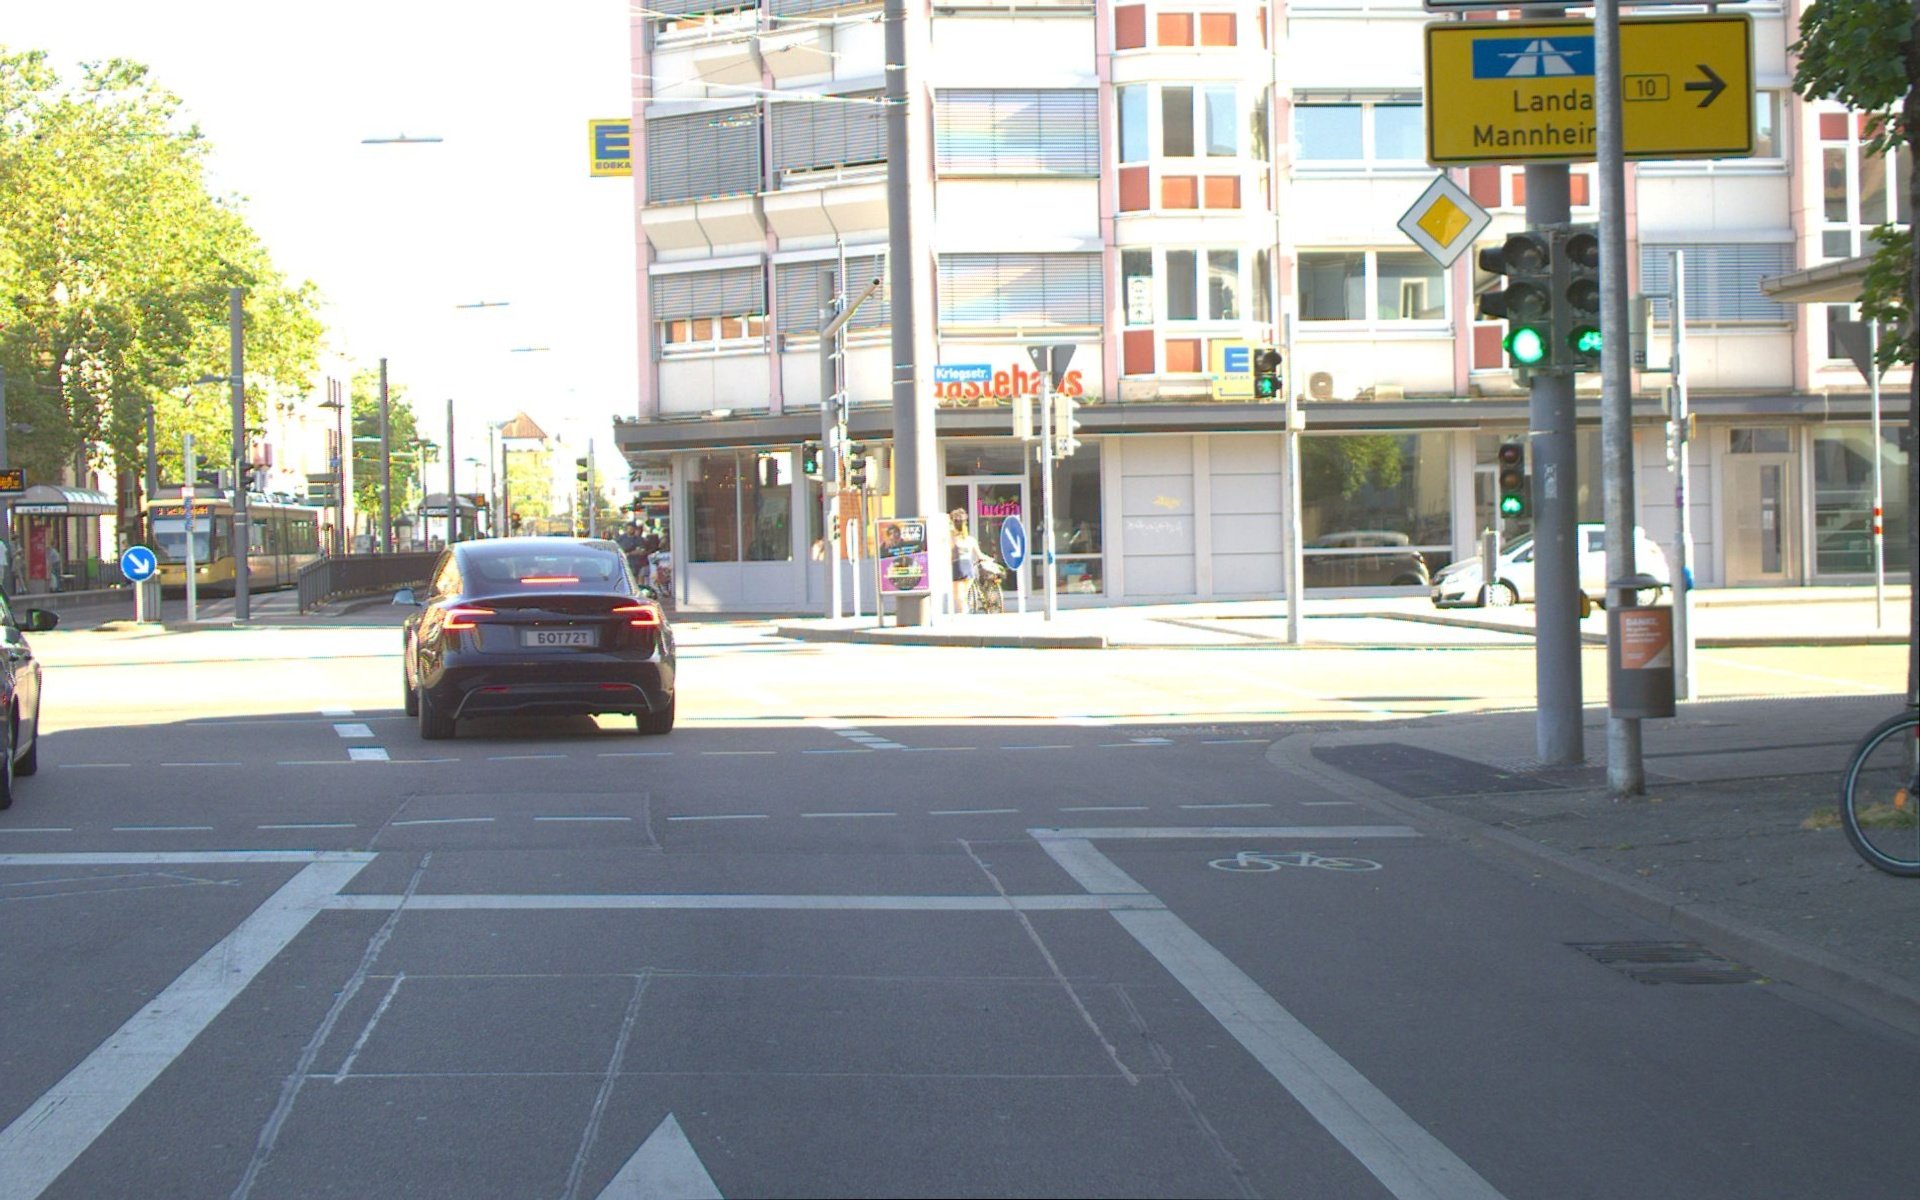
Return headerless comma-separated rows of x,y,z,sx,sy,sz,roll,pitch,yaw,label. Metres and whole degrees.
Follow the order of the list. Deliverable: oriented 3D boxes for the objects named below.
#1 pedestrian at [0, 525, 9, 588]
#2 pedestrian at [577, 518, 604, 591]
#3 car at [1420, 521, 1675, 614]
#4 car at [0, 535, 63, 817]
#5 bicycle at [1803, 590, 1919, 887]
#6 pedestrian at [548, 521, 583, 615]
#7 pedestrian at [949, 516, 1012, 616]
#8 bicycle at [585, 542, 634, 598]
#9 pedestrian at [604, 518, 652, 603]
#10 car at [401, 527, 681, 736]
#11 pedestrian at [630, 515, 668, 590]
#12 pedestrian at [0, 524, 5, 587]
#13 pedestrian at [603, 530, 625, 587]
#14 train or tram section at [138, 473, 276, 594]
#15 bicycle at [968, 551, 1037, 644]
-25.325,-1.131,89.405,1.104,1.619,0.848,-1,0,-12,pedestrian
-8.024,-0.988,74.709,0.471,1.557,0.545,-1,0,-17,pedestrian
9.873,-0.546,57.902,3.840,1.427,1.804,-1,-1,-7,car
-6.120,0.361,19.298,1.764,1.439,4.530,0,1,-10,car
4.427,0.511,13.853,1.890,1.152,0.480,-3,0,-1,bicycle
-7.531,-0.611,65.664,0.626,1.776,0.918,-1,0,-6,pedestrian
0.324,-0.553,54.925,0.779,1.571,0.868,-1,2,-17,pedestrian
-7.376,-0.633,72.248,0.488,1.157,1.974,-1,0,-22,bicycle
-6.968,-0.826,72.193,0.914,1.748,0.839,-1,0,-2,pedestrian
-3.225,0.188,25.884,1.790,1.446,3.941,0,1,-11,car
-6.972,-1.060,76.998,0.686,1.683,0.671,-1,0,-18,pedestrian
-25.115,-1.145,88.456,0.999,1.619,0.848,-1,0,-12,pedestrian
-11.521,-1.374,114.526,0.696,1.890,0.750,-1,0,-4,pedestrian
-23.202,-1.971,106.386,2.729,3.530,10.088,-1,0,-4,train or tram section
0.672,-0.049,55.036,0.582,1.458,1.686,-2,1,-17,bicycle
